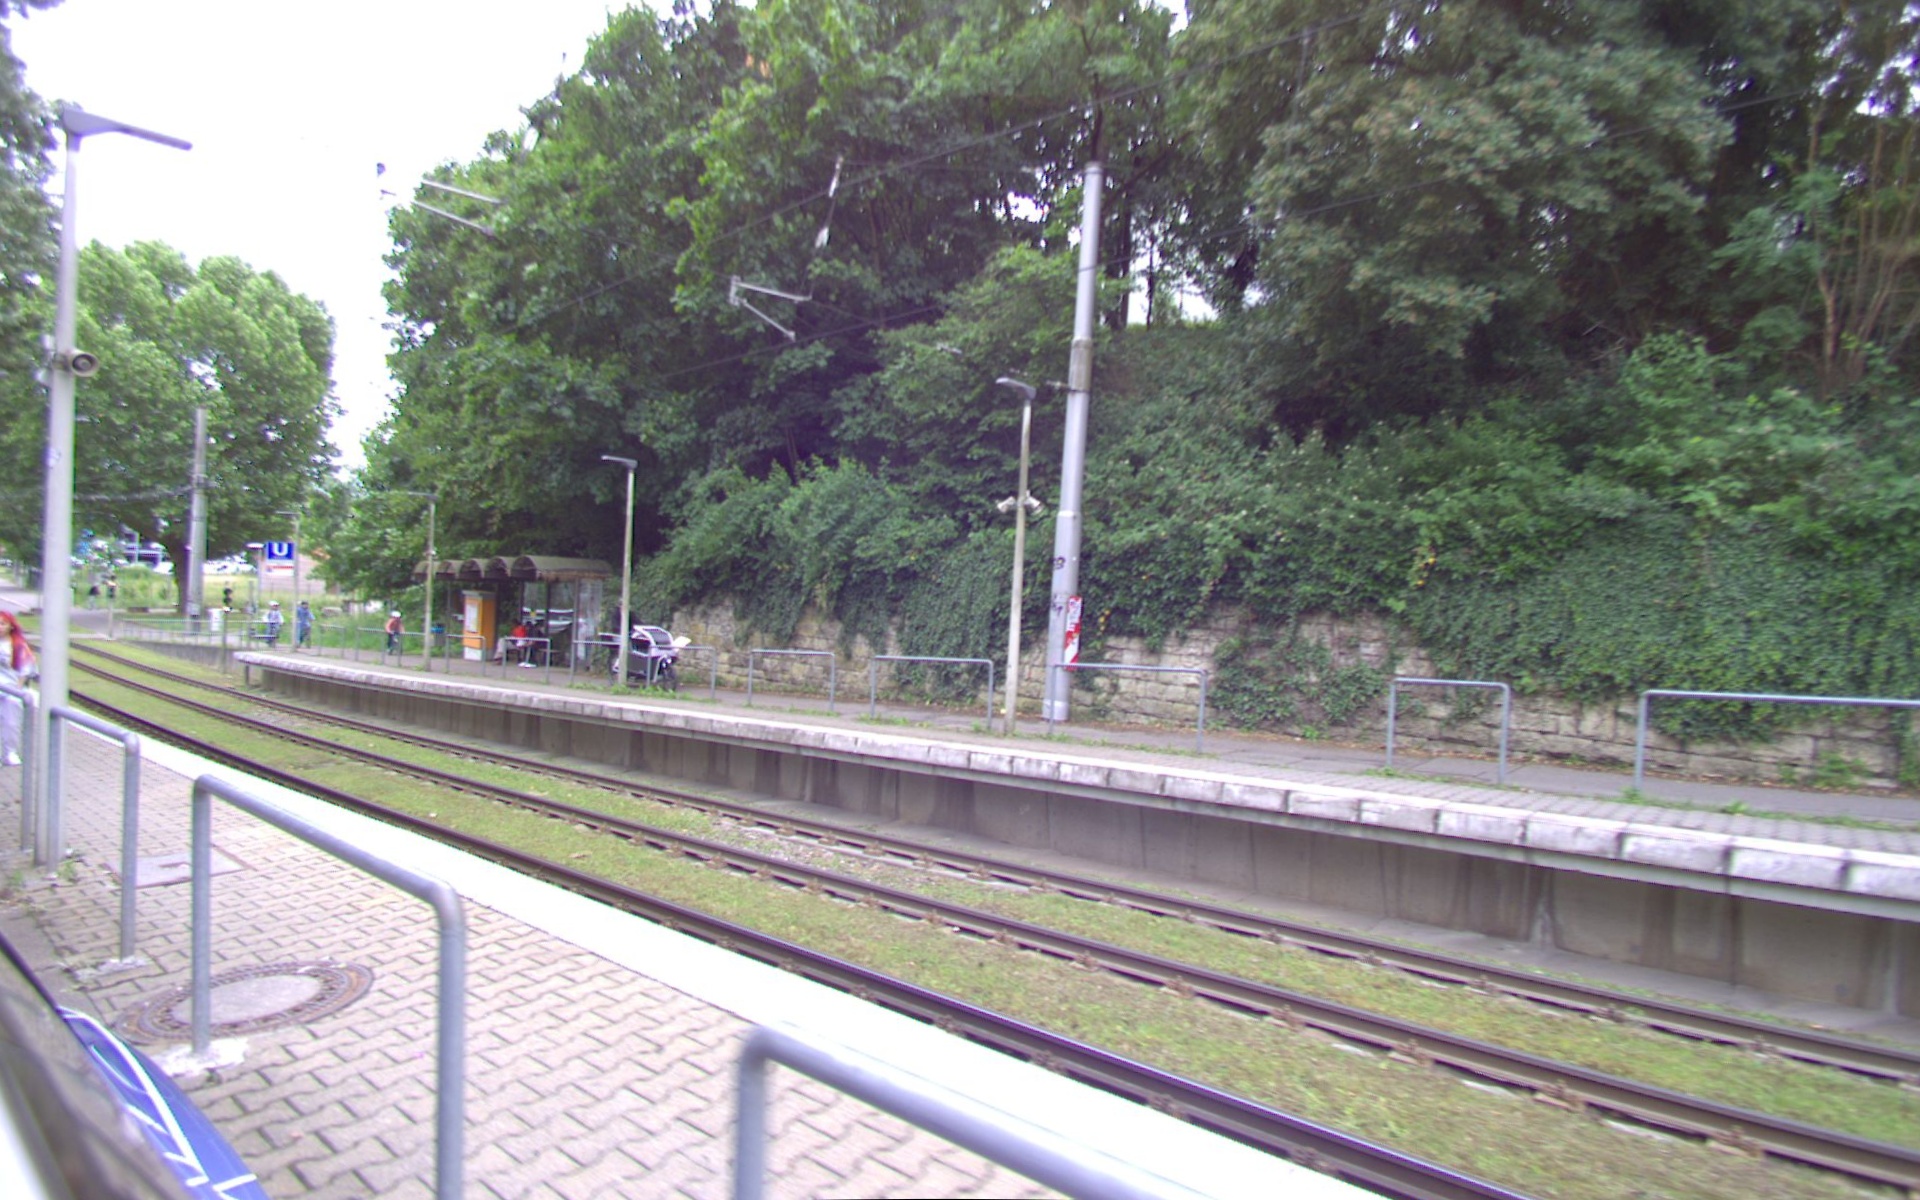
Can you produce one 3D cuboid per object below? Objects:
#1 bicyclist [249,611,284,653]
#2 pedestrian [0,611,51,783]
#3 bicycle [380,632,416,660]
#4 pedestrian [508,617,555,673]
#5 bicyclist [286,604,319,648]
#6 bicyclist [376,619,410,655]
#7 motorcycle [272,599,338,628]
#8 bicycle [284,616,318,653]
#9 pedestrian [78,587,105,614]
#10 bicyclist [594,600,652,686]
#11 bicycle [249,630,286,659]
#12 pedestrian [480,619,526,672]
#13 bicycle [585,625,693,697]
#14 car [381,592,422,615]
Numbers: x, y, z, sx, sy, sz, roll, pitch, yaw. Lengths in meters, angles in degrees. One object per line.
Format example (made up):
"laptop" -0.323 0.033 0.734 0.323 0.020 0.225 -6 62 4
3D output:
"bicyclist" -23.812 1.093 34.750 0.906 1.442 0.738 -2 -2 36
"pedestrian" -8.757 0.862 9.193 0.738 1.514 0.619 -1 -1 38
"bicycle" -16.833 1.366 30.298 1.564 0.787 0.445 -1 -1 42
"pedestrian" -11.115 1.146 26.260 0.772 1.385 0.813 1 0 35
"bicyclist" -22.209 0.871 34.205 0.839 1.454 0.722 -1 -1 40
"bicyclist" -16.957 1.097 30.279 0.744 1.061 0.682 -1 -1 41
"motorcycle" -36.225 0.734 56.002 1.247 1.563 3.046 1 0 14
"bicycle" -22.358 1.160 34.308 1.939 1.197 0.458 -1 -1 41
"pedestrian" -57.098 0.034 66.526 1.100 1.747 0.696 1 0 -12
"bicyclist" -6.620 0.824 19.869 1.033 1.641 0.696 -1 0 44
"bicycle" -23.702 1.515 34.623 1.840 0.932 0.473 -2 -2 36
"pedestrian" -12.141 1.196 26.878 0.772 1.333 0.813 1 0 35
"bicycle" -6.198 1.133 19.427 0.742 1.249 2.868 0 0 -45
"car" -42.430 0.235 76.966 1.966 1.696 4.012 1 0 -17
